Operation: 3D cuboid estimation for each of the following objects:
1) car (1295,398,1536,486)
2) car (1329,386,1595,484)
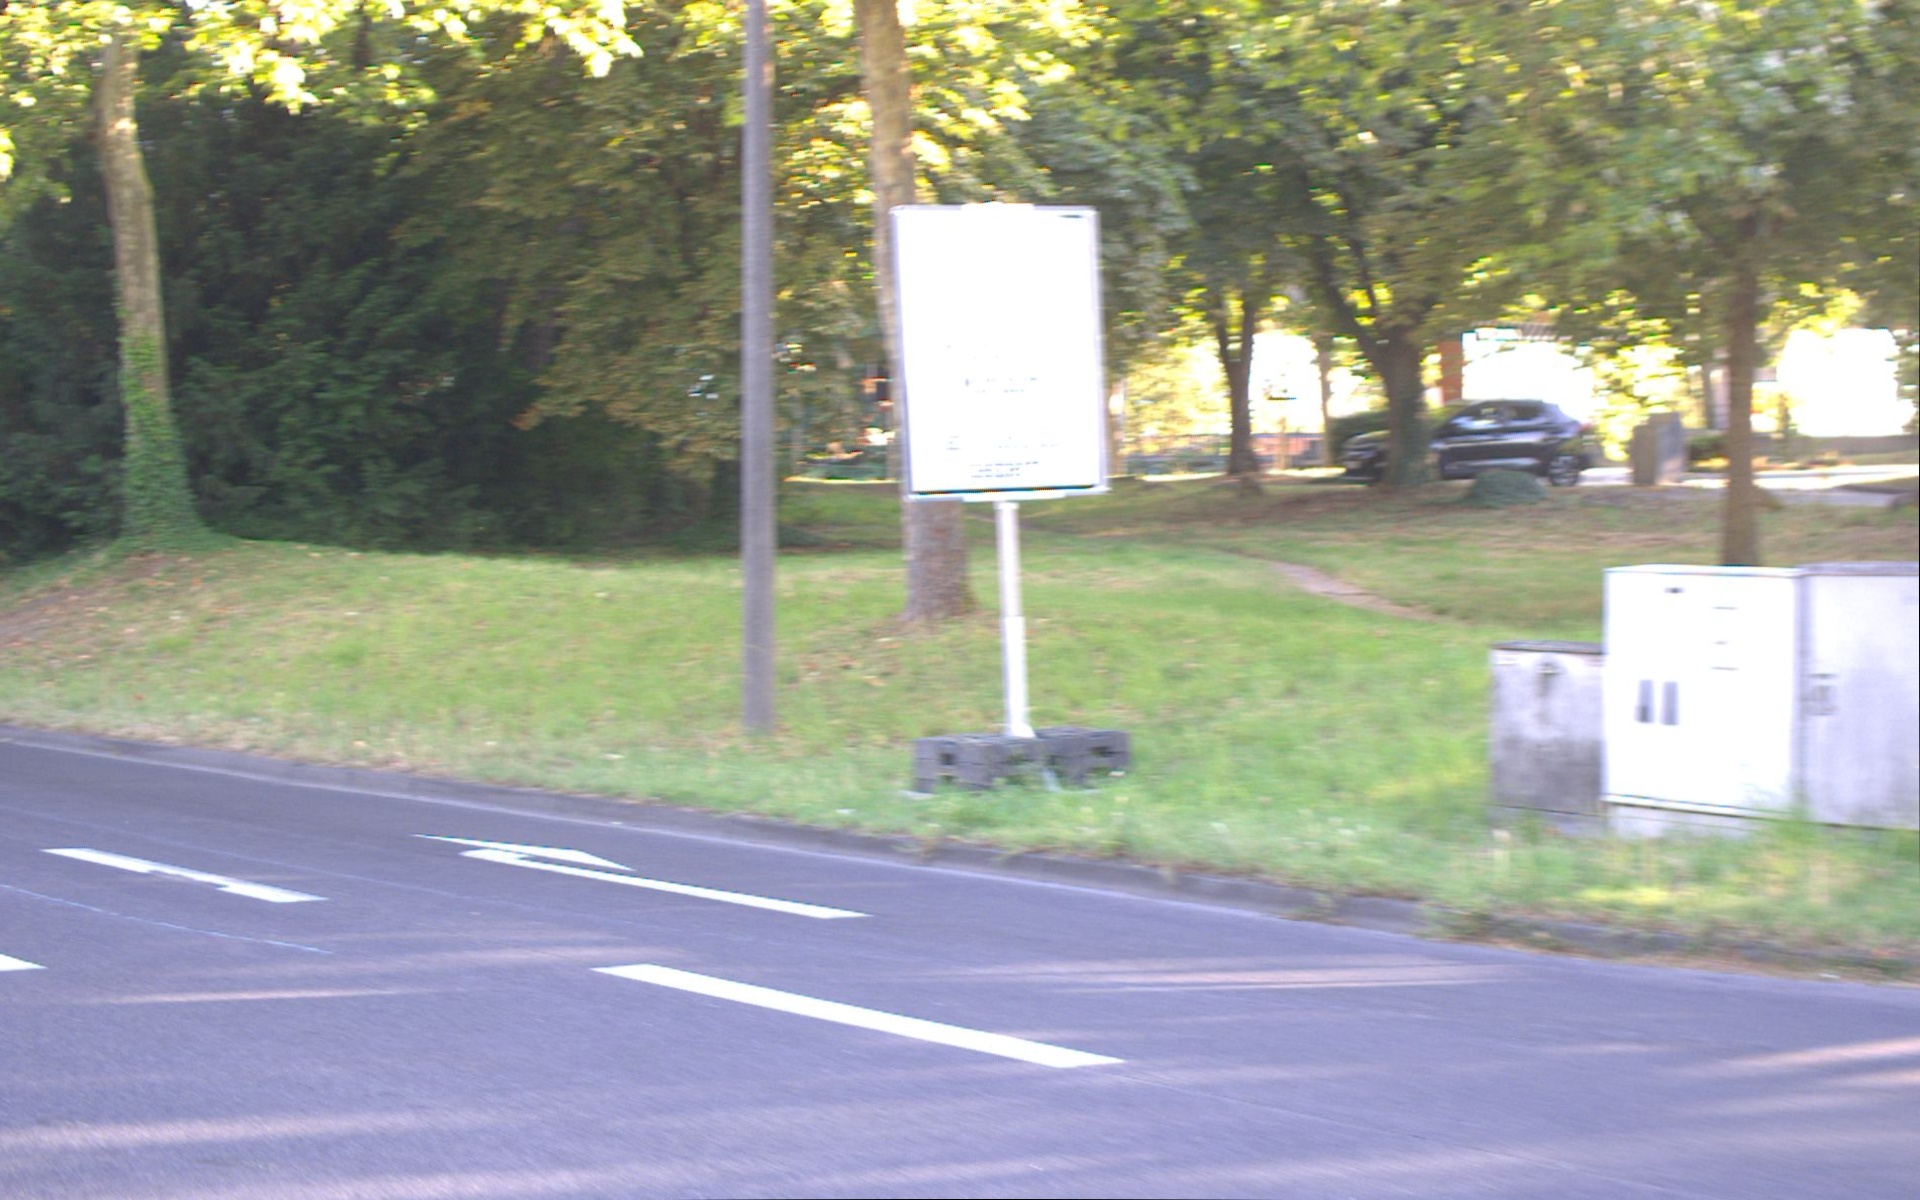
[{"bbox_3d":[8.364,-2.907,63.222,3.986,1.546,1.808,-2,2,-19],"label":"car"},{"bbox_3d":[8.188,-2.690,56.035,3.986,1.546,1.808,-2,2,-28],"label":"car"}]
